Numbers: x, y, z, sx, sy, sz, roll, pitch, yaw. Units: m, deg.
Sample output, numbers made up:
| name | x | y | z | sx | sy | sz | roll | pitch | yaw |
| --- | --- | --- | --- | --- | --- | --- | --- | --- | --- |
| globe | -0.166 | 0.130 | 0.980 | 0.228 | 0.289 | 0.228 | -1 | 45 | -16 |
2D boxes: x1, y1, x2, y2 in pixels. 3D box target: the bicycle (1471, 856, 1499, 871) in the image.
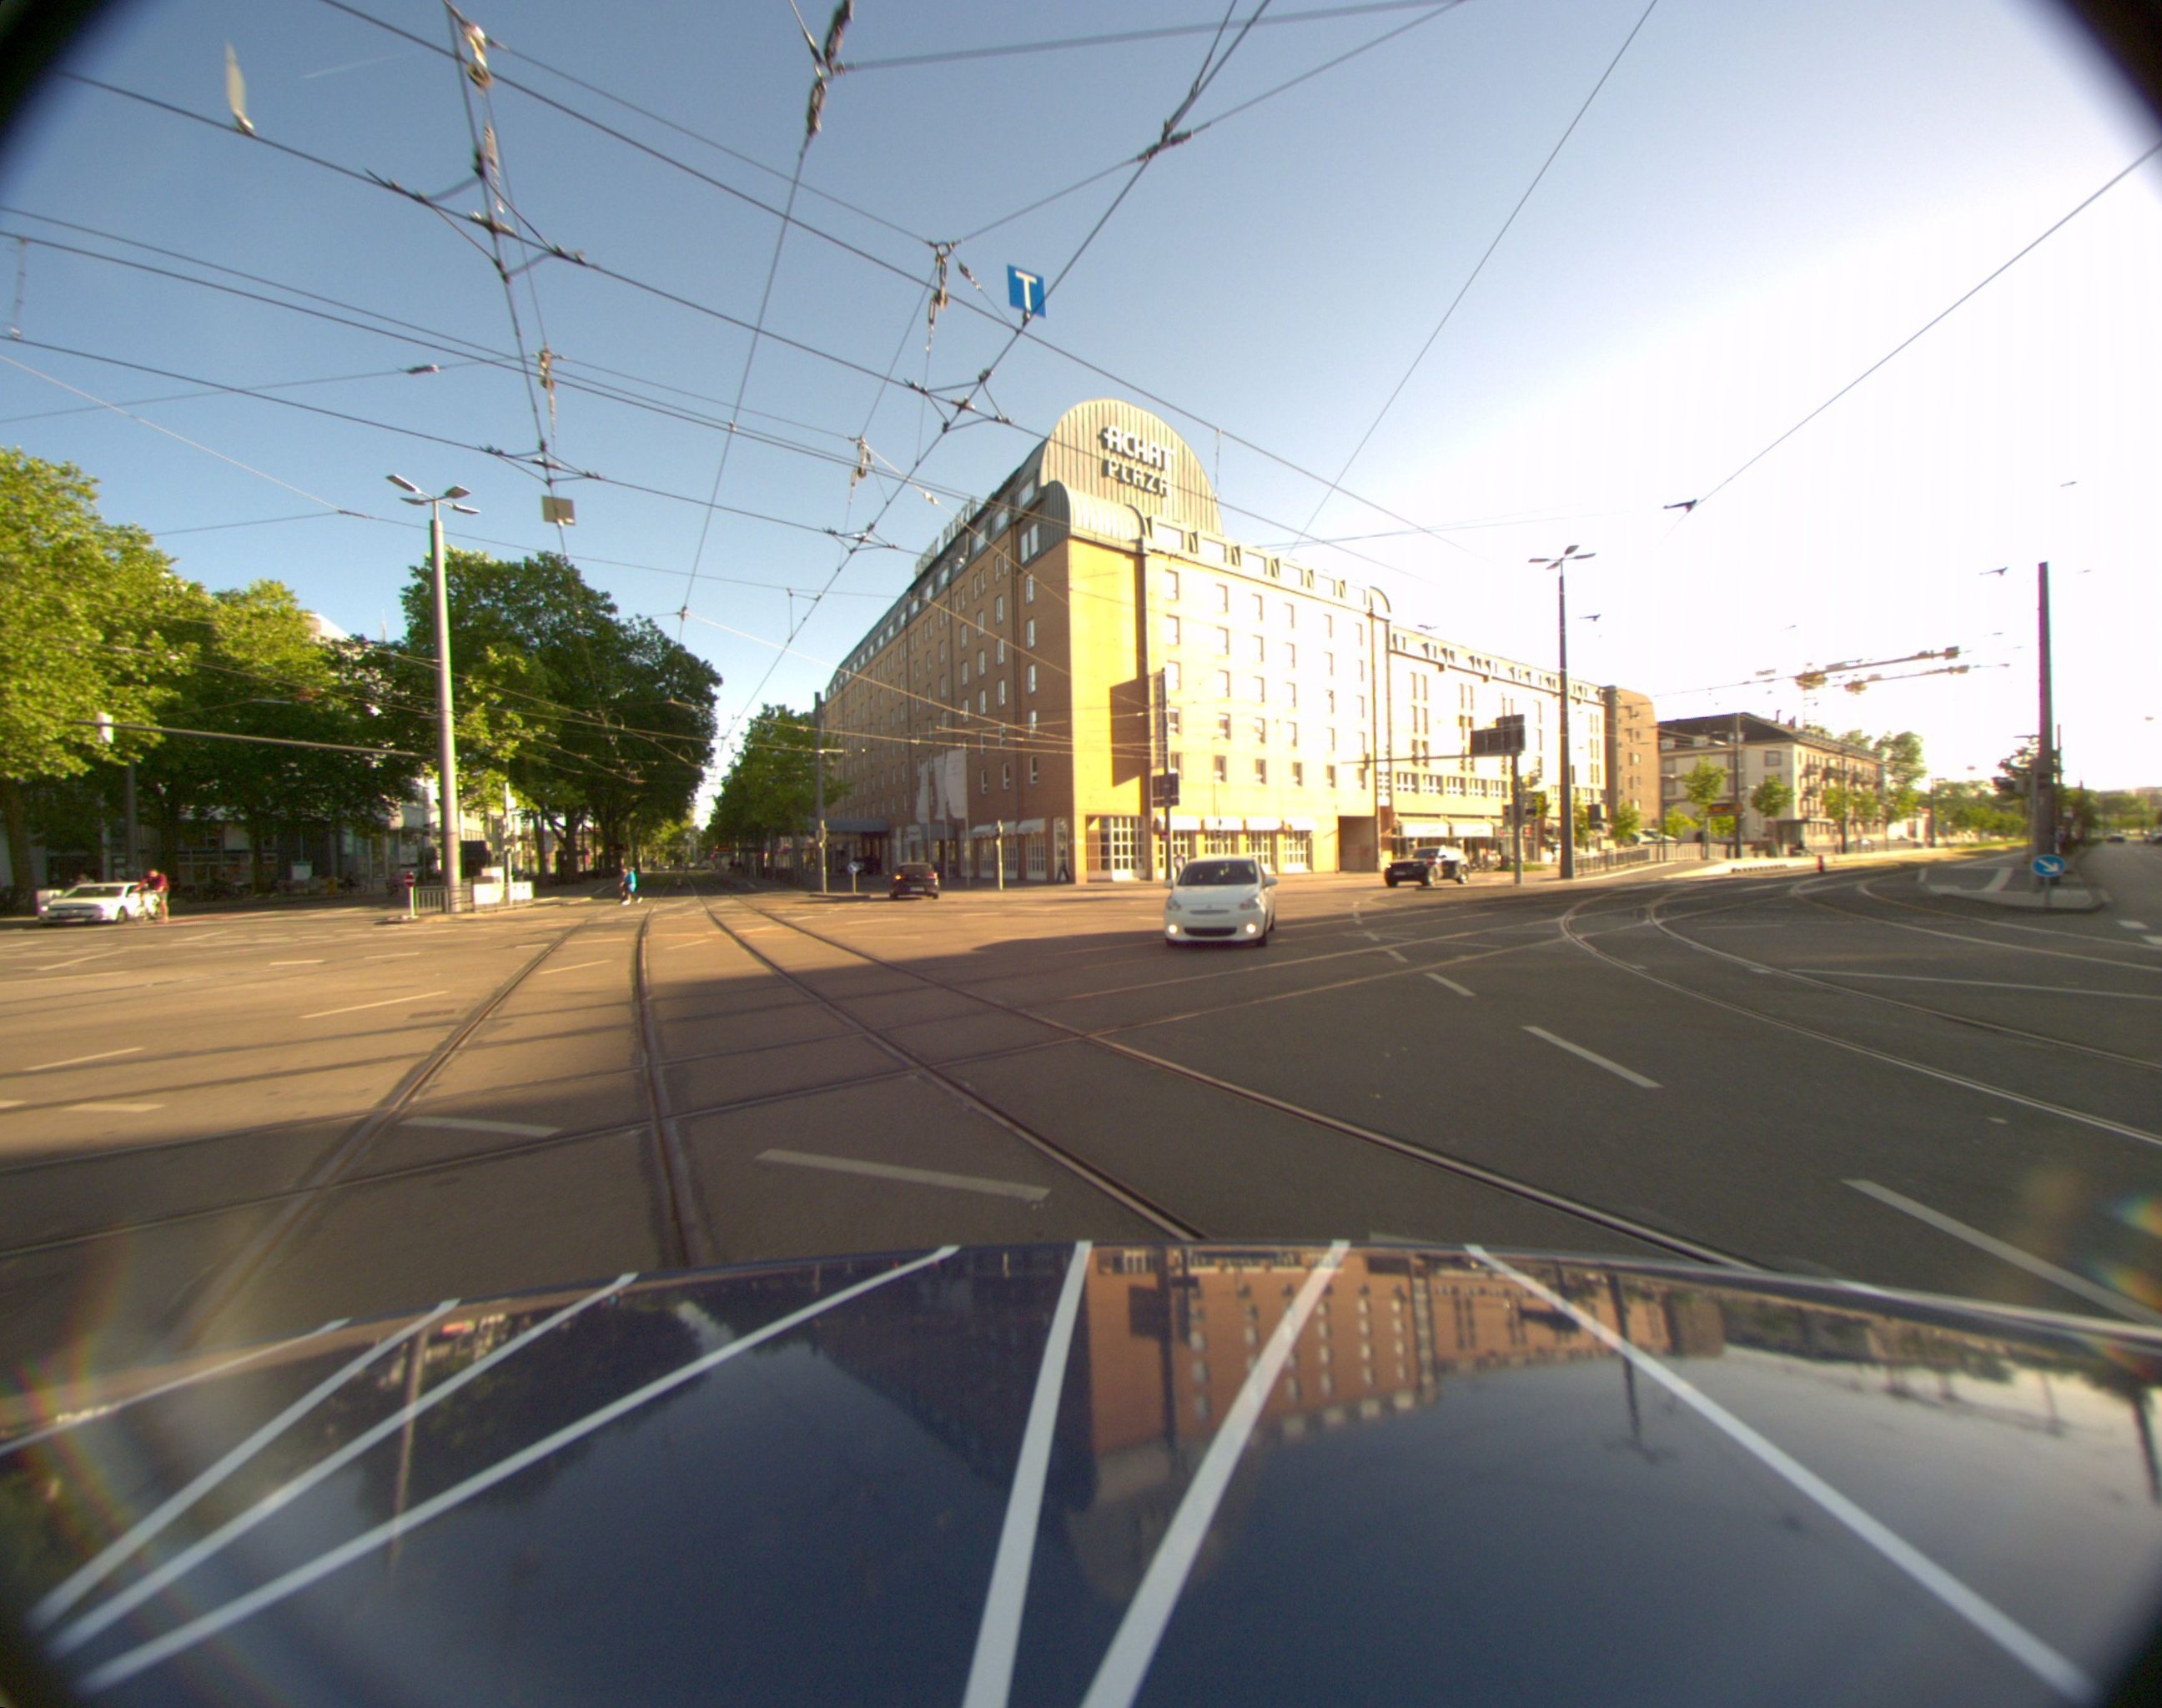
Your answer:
| name | x | y | z | sx | sy | sz | roll | pitch | yaw |
| --- | --- | --- | --- | --- | --- | --- | --- | --- | --- |
| bicycle | 31.452 | 0.726 | 59.118 | 0.738 | 1.065 | 1.771 | -3 | 2 | -33 |

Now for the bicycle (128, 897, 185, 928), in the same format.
| name | x | y | z | sx | sy | sz | roll | pitch | yaw |
| --- | --- | --- | --- | --- | --- | --- | --- | --- | --- |
| bicycle | -31.748 | 1.993 | 26.114 | 0.653 | 0.905 | 1.855 | -1 | 0 | -32 |

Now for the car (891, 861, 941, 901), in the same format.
| name | x | y | z | sx | sy | sz | roll | pitch | yaw |
| --- | --- | --- | --- | --- | --- | --- | --- | --- | --- |
| car | -6.574 | 1.015 | 30.324 | 1.798 | 1.457 | 4.306 | 0 | 0 | -12 |

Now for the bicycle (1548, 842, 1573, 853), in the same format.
| name | x | y | z | sx | sy | sz | roll | pitch | yaw |
| --- | --- | --- | --- | --- | --- | --- | --- | --- | --- |
| bicycle | 46.414 | -0.628 | 73.553 | 1.880 | 1.045 | 0.602 | 2 | 4 | 0 |

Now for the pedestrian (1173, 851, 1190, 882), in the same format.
| name | x | y | z | sx | sy | sz | roll | pitch | yaw |
| --- | --- | --- | --- | --- | --- | --- | --- | --- | --- |
| pedestrian | 5.605 | 0.680 | 42.445 | 0.660 | 1.693 | 0.561 | -2 | 0 | -40 |

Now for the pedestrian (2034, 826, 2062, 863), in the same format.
| name | x | y | z | sx | sy | sz | roll | pitch | yaw |
| --- | --- | --- | --- | --- | --- | --- | --- | --- | --- |
| pedestrian | 39.844 | -0.394 | 31.316 | 0.655 | 1.526 | 0.700 | -1 | 1 | -39 |

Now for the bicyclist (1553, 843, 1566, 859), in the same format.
| name | x | y | z | sx | sy | sz | roll | pitch | yaw |
| --- | --- | --- | --- | --- | --- | --- | --- | --- | --- |
| bicyclist | 46.351 | -0.301 | 73.572 | 0.849 | 1.507 | 0.580 | 2 | 3 | 0 |

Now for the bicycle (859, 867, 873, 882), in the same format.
| name | x | y | z | sx | sy | sz | roll | pitch | yaw |
| --- | --- | --- | --- | --- | --- | --- | --- | --- | --- |
| bicycle | -15.865 | 1.534 | 56.061 | 0.793 | 1.045 | 1.920 | -2 | -1 | -21 |

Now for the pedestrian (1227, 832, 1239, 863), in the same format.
| name | x | y | z | sx | sy | sz | roll | pitch | yaw |
| --- | --- | --- | --- | --- | --- | --- | --- | --- | --- |
| pedestrian | 8.674 | -0.379 | 43.352 | 0.579 | 1.764 | 0.405 | -1 | 2 | -4 |

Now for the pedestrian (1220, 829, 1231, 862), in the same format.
| name | x | y | z | sx | sy | sz | roll | pitch | yaw |
| --- | --- | --- | --- | --- | --- | --- | --- | --- | --- |
| pedestrian | 8.073 | -0.491 | 42.472 | 0.497 | 1.823 | 0.734 | 0 | 2 | 19 |

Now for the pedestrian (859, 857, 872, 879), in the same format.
| name | x | y | z | sx | sy | sz | roll | pitch | yaw |
| --- | --- | --- | --- | --- | --- | --- | --- | --- | --- |
| pedestrian | -15.911 | 1.054 | 56.145 | 0.773 | 1.584 | 0.837 | -2 | 0 | -21 |

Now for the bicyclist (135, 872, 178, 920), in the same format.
| name | x | y | z | sx | sy | sz | roll | pitch | yaw |
| --- | --- | --- | --- | --- | --- | --- | --- | --- | --- |
| bicyclist | -31.786 | 1.420 | 26.136 | 0.638 | 1.606 | 0.926 | -1 | 0 | -32 |

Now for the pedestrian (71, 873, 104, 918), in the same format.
| name | x | y | z | sx | sy | sz | roll | pitch | yaw |
| --- | --- | --- | --- | --- | --- | --- | --- | --- | --- |
| pedestrian | -40.722 | 1.687 | 31.155 | 0.644 | 1.766 | 0.615 | -2 | 1 | -36 |

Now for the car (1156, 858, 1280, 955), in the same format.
| name | x | y | z | sx | sy | sz | roll | pitch | yaw |
| --- | --- | --- | --- | --- | --- | --- | --- | --- | --- |
| car | 2.624 | 0.823 | 13.751 | 1.638 | 1.458 | 4.192 | -1 | 0 | 18 |

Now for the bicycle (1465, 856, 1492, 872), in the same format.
| name | x | y | z | sx | sy | sz | roll | pitch | yaw |
| --- | --- | --- | --- | --- | --- | --- | --- | --- | --- |
| bicycle | 30.562 | 0.752 | 58.426 | 0.554 | 1.135 | 1.771 | -3 | 2 | -33 |

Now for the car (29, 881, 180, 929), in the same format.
| name | x | y | z | sx | sy | sz | roll | pitch | yaw |
| --- | --- | --- | --- | --- | --- | --- | --- | --- | --- |
| car | -34.768 | 1.767 | 27.211 | 2.003 | 1.477 | 3.991 | -2 | -1 | -31 |

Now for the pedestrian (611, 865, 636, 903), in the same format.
| name | x | y | z | sx | sy | sz | roll | pitch | yaw |
| --- | --- | --- | --- | --- | --- | --- | --- | --- | --- |
| pedestrian | -19.149 | 1.243 | 31.801 | 0.744 | 1.530 | 0.650 | -2 | 0 | -44 |

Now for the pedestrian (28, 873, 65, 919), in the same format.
| name | x | y | z | sx | sy | sz | roll | pitch | yaw |
| --- | --- | --- | --- | --- | --- | --- | --- | --- | --- |
| pedestrian | -40.747 | 1.628 | 29.935 | 0.644 | 1.766 | 0.615 | -2 | 1 | -36 |

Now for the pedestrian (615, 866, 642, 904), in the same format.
| name | x | y | z | sx | sy | sz | roll | pitch | yaw |
| --- | --- | --- | --- | --- | --- | --- | --- | --- | --- |
| pedestrian | -18.575 | 1.266 | 31.185 | 0.744 | 1.530 | 0.675 | -2 | 0 | -44 |

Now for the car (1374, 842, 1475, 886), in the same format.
| name | x | y | z | sx | sy | sz | roll | pitch | yaw |
| --- | --- | --- | --- | --- | --- | --- | --- | --- | --- |
| car | 14.640 | 0.409 | 32.326 | 4.363 | 1.652 | 1.952 | -2 | -1 | -36 |

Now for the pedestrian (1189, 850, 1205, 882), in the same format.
| name | x | y | z | sx | sy | sz | roll | pitch | yaw |
| --- | --- | --- | --- | --- | --- | --- | --- | --- | --- |
| pedestrian | 6.350 | 0.656 | 41.686 | 0.693 | 1.757 | 0.575 | -1 | -1 | 27 |
